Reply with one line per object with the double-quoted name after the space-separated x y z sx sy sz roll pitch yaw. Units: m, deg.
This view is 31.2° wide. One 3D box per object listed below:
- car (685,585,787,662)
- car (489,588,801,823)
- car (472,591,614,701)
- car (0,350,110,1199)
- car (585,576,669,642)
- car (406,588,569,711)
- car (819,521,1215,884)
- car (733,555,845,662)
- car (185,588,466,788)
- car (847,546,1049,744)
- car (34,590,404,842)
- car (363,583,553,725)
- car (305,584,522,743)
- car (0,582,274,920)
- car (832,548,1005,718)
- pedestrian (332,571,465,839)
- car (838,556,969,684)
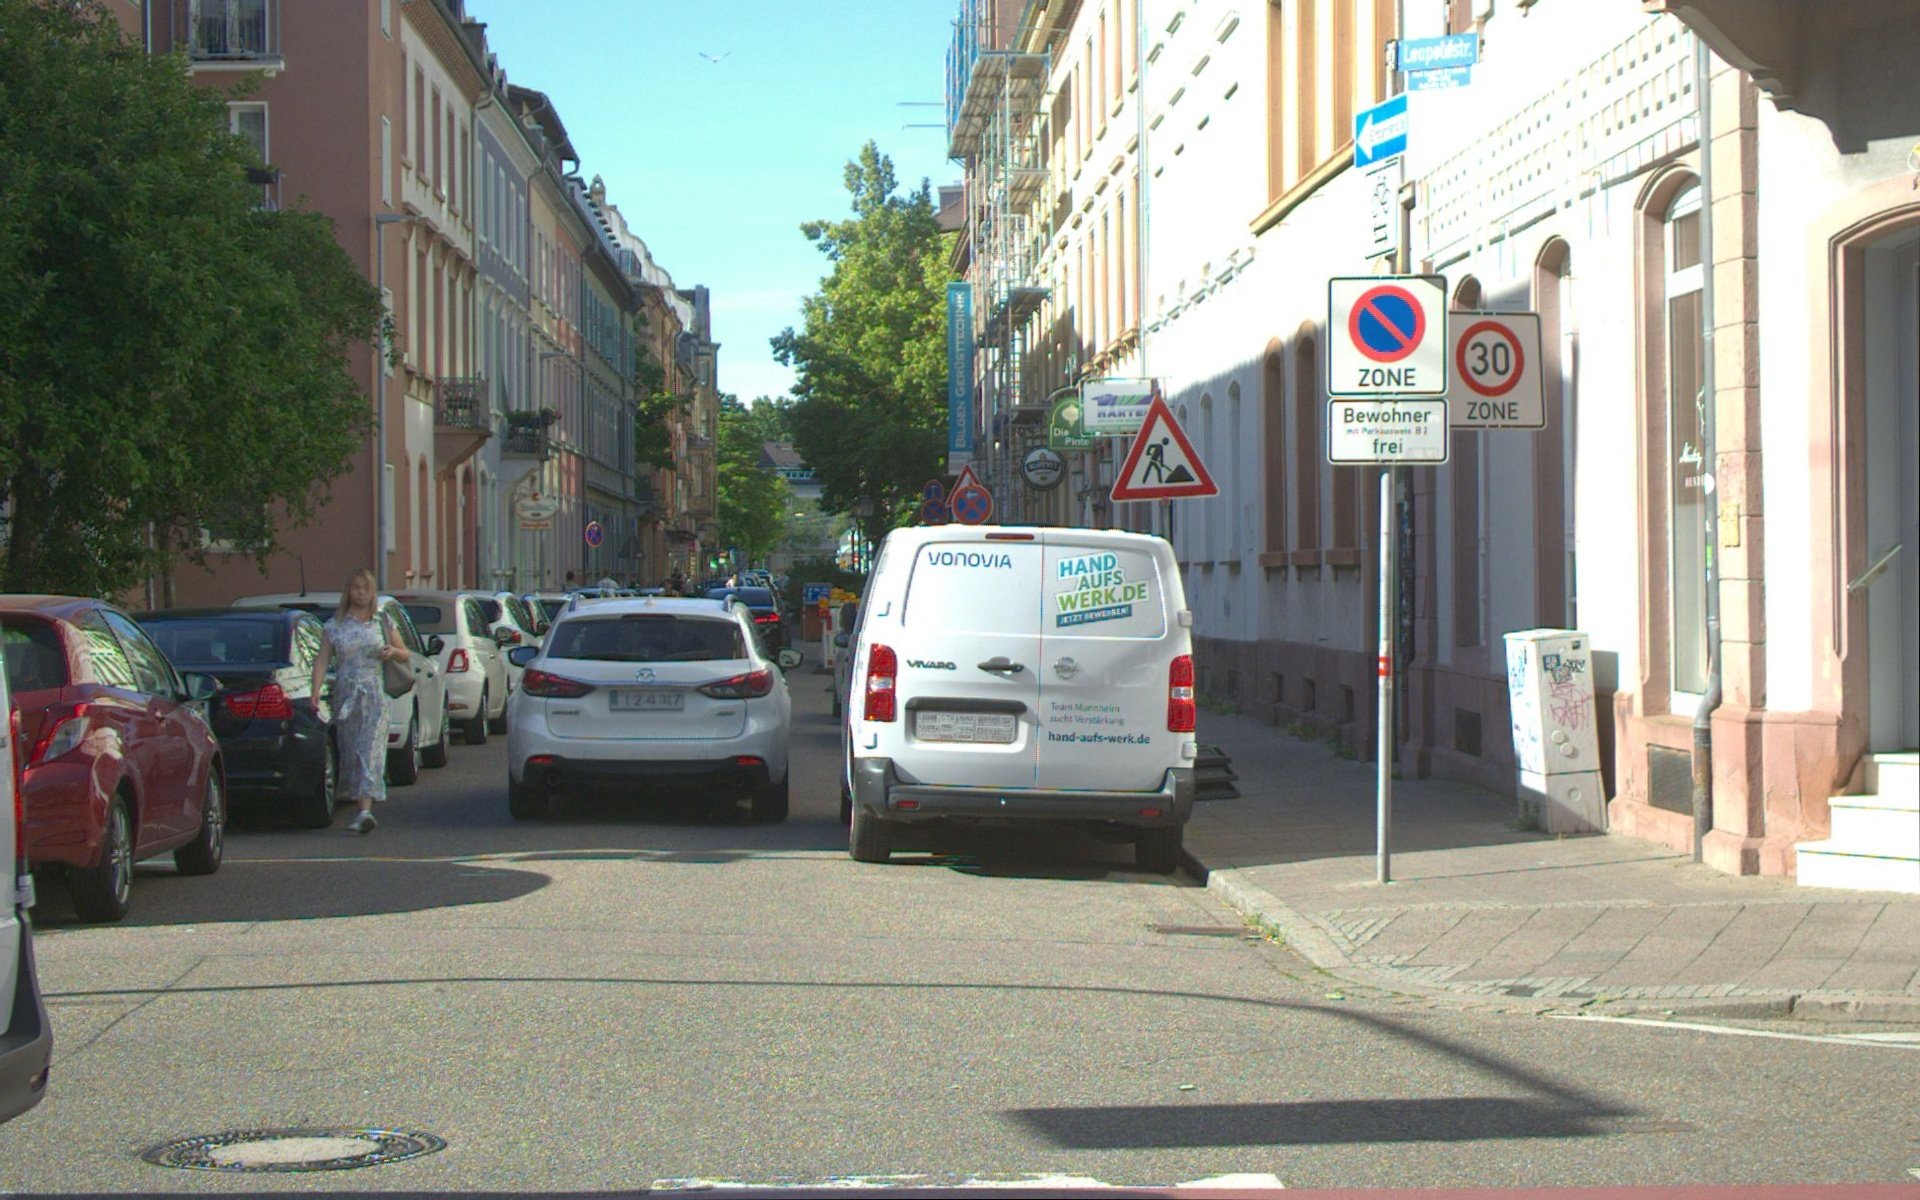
-4.296 0.431 66.449 1.760 1.405 4.328 0 0 -1 "car"
-2.047 0.672 23.327 1.831 1.452 3.962 0 -1 -1 "car"
-5.936 0.630 49.241 1.653 1.495 3.763 0 0 -1 "car"
-4.682 0.446 6.868 5.407 1.901 2.108 0 0 4 "car"
-7.737 0.184 80.114 1.653 1.495 3.763 0 0 -1 "car"
-6.015 0.601 44.088 1.653 1.495 3.763 0 0 -1 "car"
0.200 0.520 20.589 1.894 1.853 5.015 2 0 -4 "car"
-3.028 0.135 61.562 1.894 1.853 3.995 0 0 -1 "car"
-5.065 0.658 27.879 1.653 1.495 3.763 0 0 -1 "car"
-0.154 0.402 34.248 1.894 1.853 3.995 0 0 -1 "car"
-4.809 0.695 22.831 1.653 1.495 4.080 0 0 -1 "car"
-5.592 0.568 38.651 1.653 1.495 3.763 0 0 -1 "car"
-5.424 0.590 34.508 1.653 1.495 3.763 0 0 -1 "car"
-4.653 0.680 17.278 1.684 1.495 3.807 -1 0 -1 "car"
-0.494 0.346 39.566 1.894 1.853 3.995 0 0 -1 "car"
-3.470 0.630 21.198 0.733 1.608 0.816 -1 0 -13 "pedestrian"
-0.860 0.270 51.818 1.894 1.853 3.995 0 0 -1 "car"
